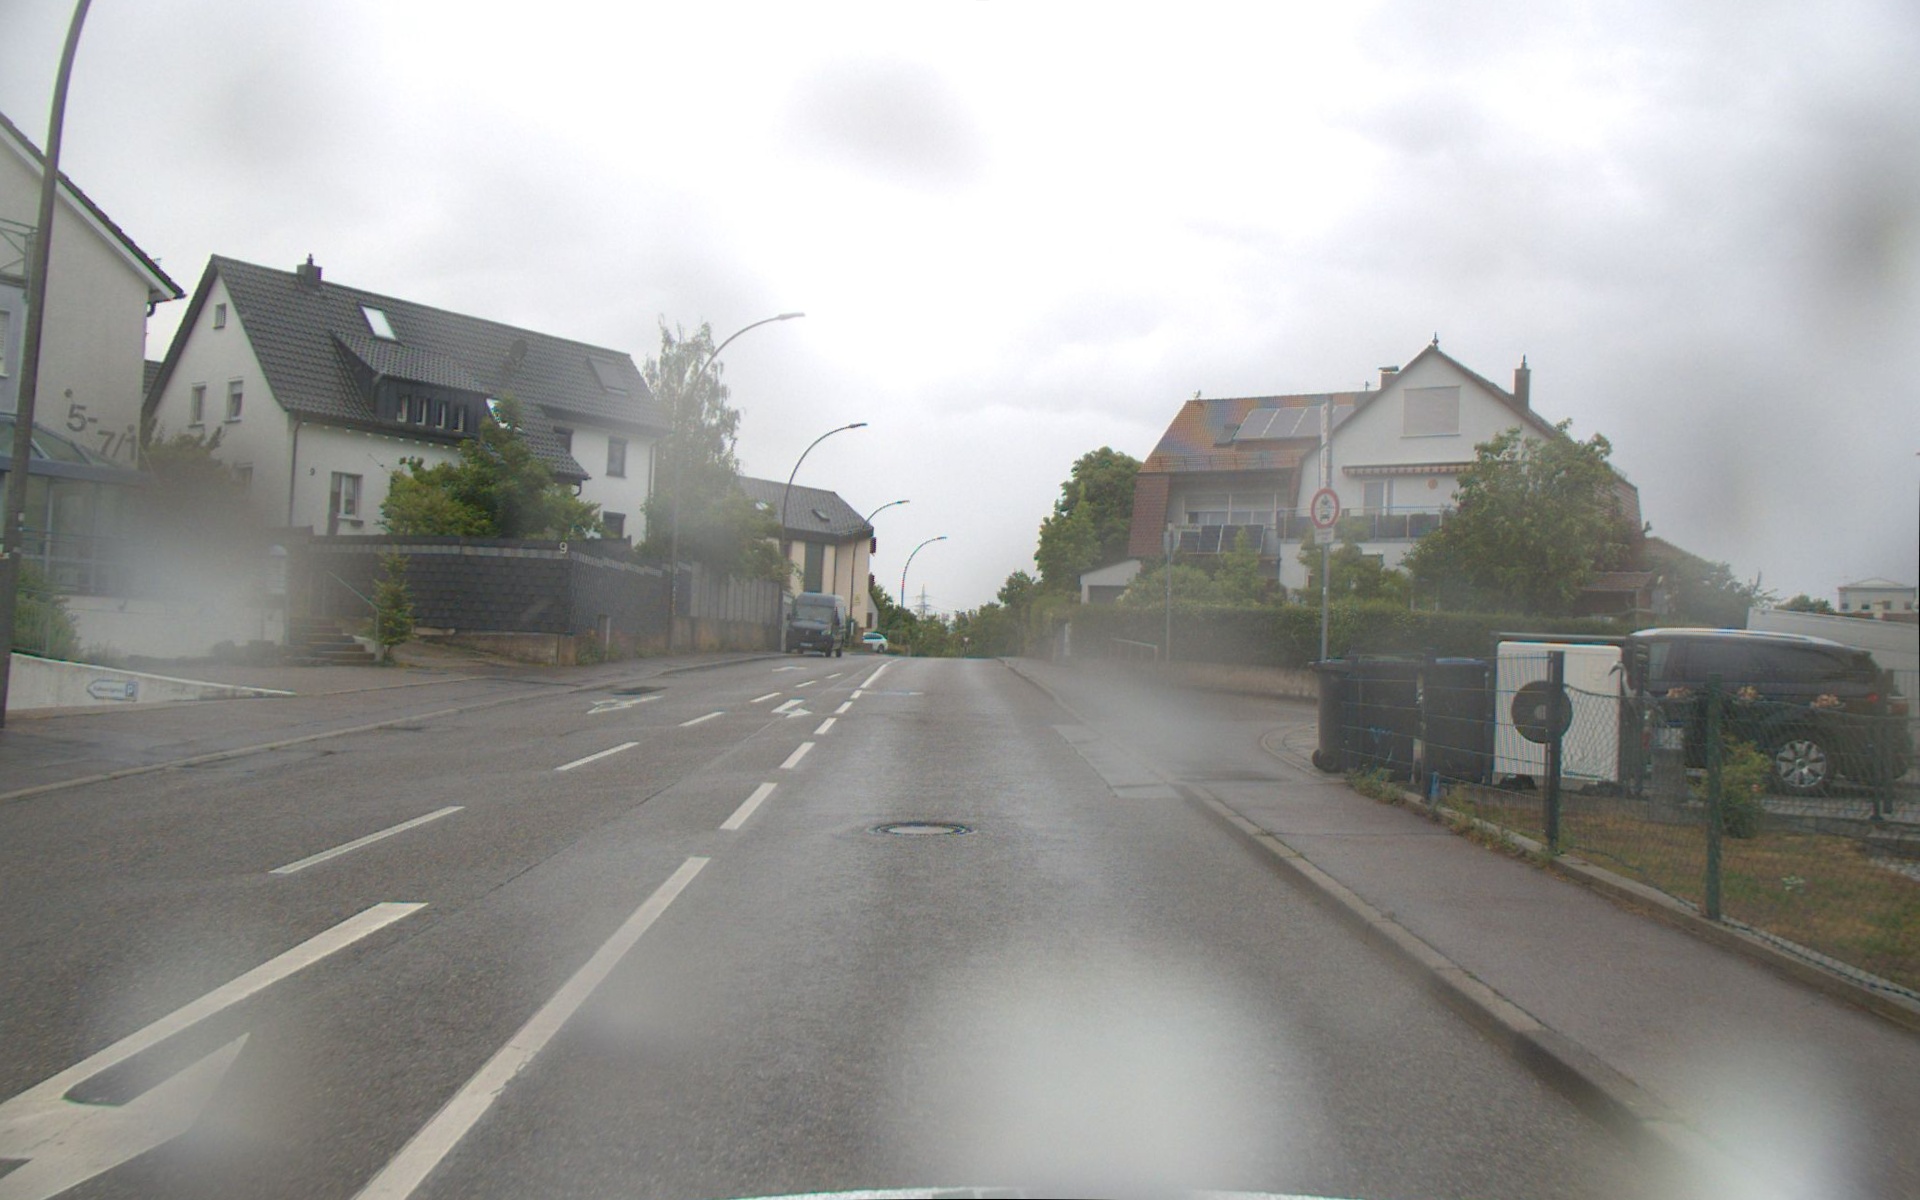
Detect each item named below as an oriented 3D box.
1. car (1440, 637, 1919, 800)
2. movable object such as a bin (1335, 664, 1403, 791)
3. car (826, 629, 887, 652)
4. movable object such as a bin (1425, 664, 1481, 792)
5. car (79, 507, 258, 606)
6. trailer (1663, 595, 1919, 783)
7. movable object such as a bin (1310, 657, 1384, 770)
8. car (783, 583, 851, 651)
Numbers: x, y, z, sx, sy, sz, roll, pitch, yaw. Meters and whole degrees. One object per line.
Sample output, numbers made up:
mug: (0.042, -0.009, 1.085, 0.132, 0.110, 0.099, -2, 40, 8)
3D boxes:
car: (7.241, 1.135, 16.908, 4.461, 1.408, 2.001, 0, 1, 17)
movable object such as a bin: (3.563, 1.087, 14.370, 0.518, 1.039, 0.733, 0, 0, 18)
car: (-7.699, 3.054, 123.529, 1.869, 1.503, 4.862, 2, -2, 36)
movable object such as a bin: (4.194, 1.078, 14.093, 0.433, 1.039, 0.525, 0, -1, 14)
car: (-18.883, -1.040, 39.416, 3.920, 1.811, 1.994, 8, 1, 33)
trailer: (9.989, 1.004, 18.694, 3.395, 1.829, 1.681, 4, 0, 36)
movable object such as a bin: (3.692, 1.074, 15.793, 0.614, 1.039, 0.541, 0, 0, 5)
car: (-6.119, 0.788, 71.550, 2.051, 2.695, 5.919, 3, -2, 2)
